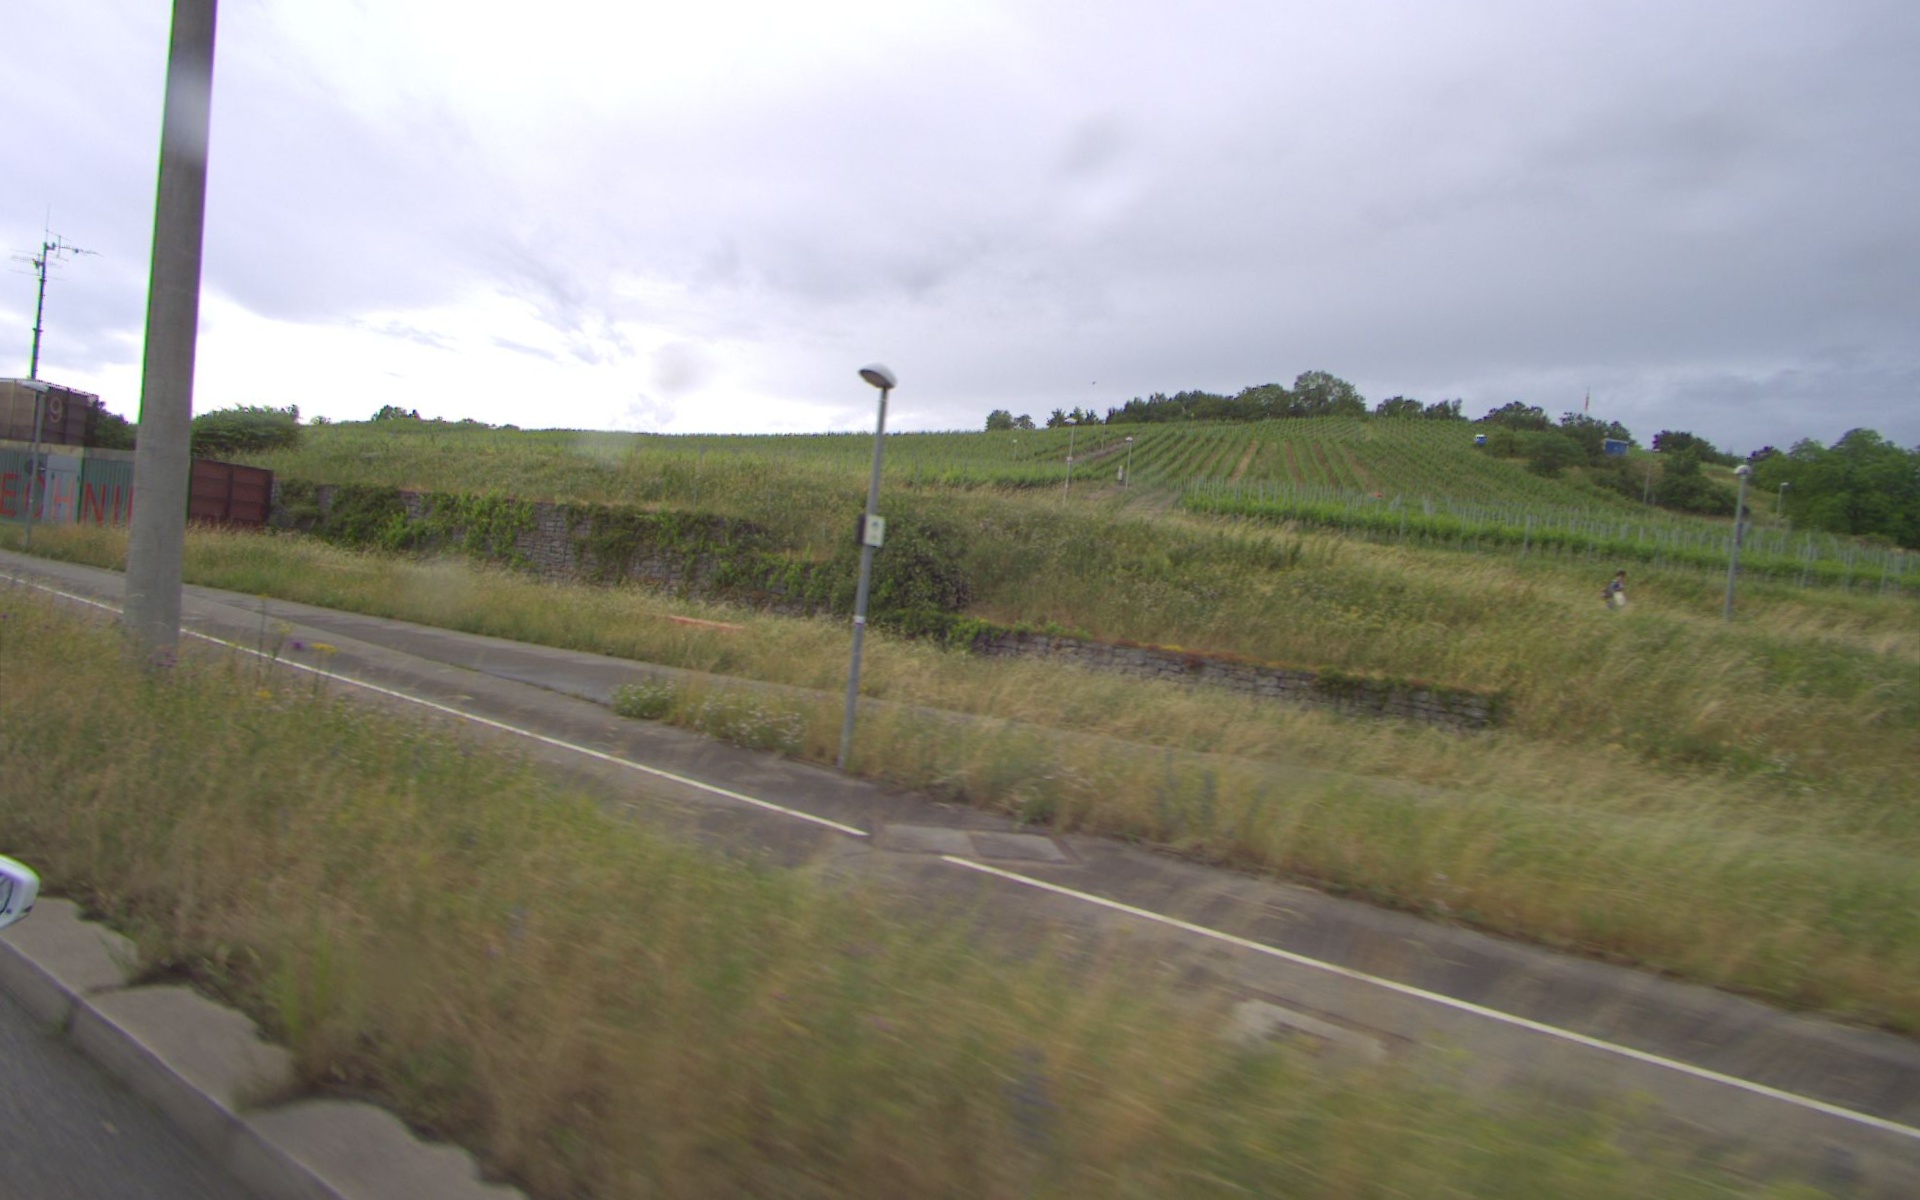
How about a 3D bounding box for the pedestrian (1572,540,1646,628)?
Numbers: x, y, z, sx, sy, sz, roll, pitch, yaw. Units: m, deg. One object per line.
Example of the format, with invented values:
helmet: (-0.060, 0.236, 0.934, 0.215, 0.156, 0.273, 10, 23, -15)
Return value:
pedestrian: (16.230, -0.411, 25.166, 1.038, 2.040, 0.778, 7, 3, -11)
